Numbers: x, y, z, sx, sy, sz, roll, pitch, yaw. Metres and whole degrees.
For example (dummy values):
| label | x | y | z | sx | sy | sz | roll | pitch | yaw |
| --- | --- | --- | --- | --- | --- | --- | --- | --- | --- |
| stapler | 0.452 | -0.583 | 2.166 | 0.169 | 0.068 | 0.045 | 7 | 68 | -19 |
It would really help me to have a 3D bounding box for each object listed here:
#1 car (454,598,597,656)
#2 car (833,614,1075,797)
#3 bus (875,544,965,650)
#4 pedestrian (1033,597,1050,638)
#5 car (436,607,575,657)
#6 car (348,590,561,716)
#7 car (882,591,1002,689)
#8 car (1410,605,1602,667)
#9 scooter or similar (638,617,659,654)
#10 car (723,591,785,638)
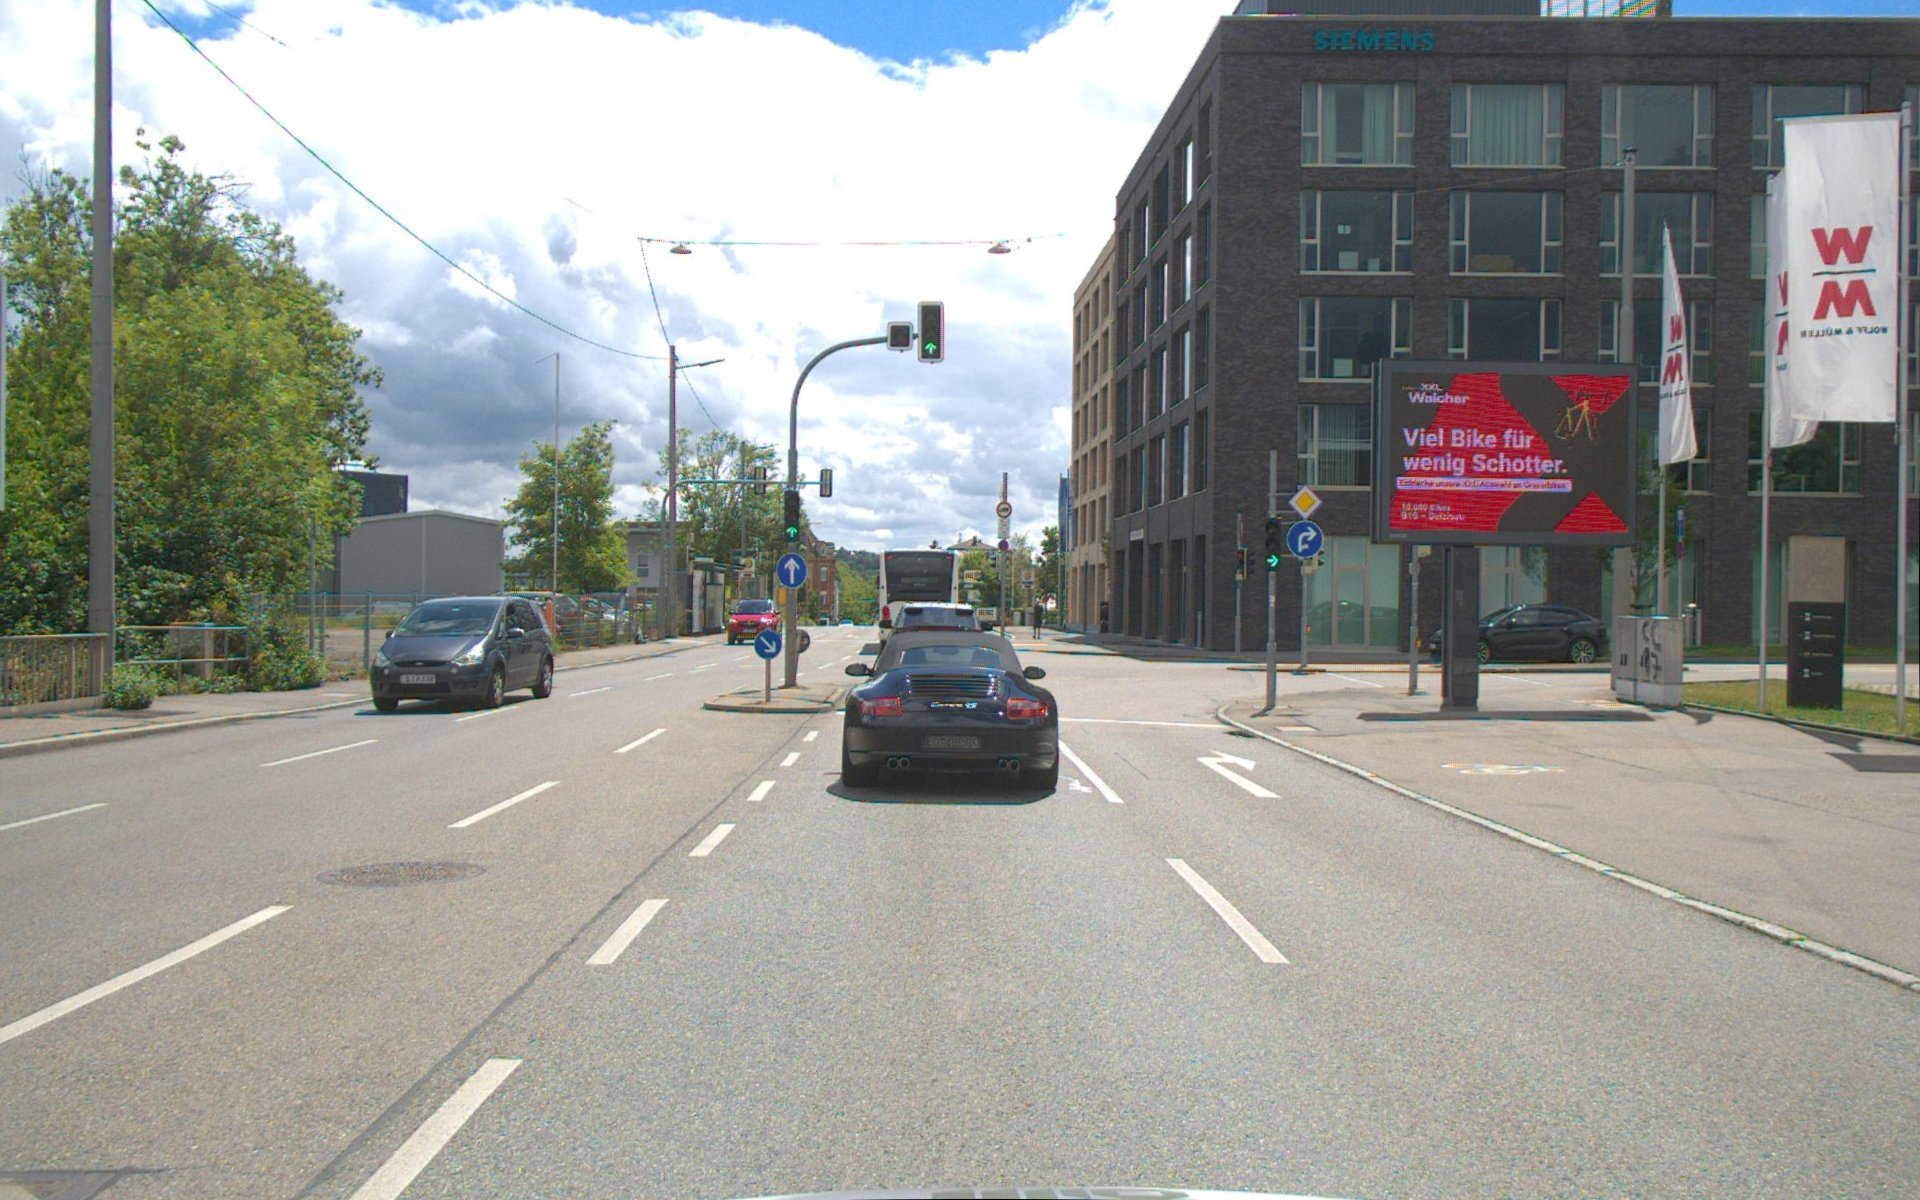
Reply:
| label | x | y | z | sx | sy | sz | roll | pitch | yaw |
| --- | --- | --- | --- | --- | --- | --- | --- | --- | --- |
| car | -13.545 | 0.827 | 51.749 | 4.024 | 1.765 | 1.997 | 0 | -1 | -6 |
| car | -0.078 | 0.852 | 15.135 | 1.891 | 1.401 | 4.207 | 1 | 0 | -1 |
| bus | -1.296 | -0.064 | 57.341 | 2.745 | 3.254 | 12.193 | 1 | 0 | 0 |
| pedestrian | 3.614 | 0.775 | 73.440 | 0.669 | 1.758 | 0.961 | 1 | -1 | -2 |
| car | -13.405 | 0.947 | 48.973 | 3.782 | 1.444 | 1.898 | 0 | -1 | -11 |
| car | -7.604 | 0.753 | 25.371 | 1.873 | 1.732 | 4.624 | 1 | 0 | -1 |
| car | -0.397 | 0.682 | 29.630 | 1.892 | 1.611 | 4.204 | 1 | -1 | -4 |
| car | 14.706 | 0.957 | 44.713 | 4.546 | 1.647 | 1.999 | 0 | 0 | -2 |
| scooter or similar | -10.538 | 1.186 | 56.016 | 0.415 | 1.232 | 1.126 | 2 | -1 | 3 |
| car | -7.572 | 0.512 | 60.983 | 1.803 | 1.624 | 3.999 | 1 | 0 | -1 |
